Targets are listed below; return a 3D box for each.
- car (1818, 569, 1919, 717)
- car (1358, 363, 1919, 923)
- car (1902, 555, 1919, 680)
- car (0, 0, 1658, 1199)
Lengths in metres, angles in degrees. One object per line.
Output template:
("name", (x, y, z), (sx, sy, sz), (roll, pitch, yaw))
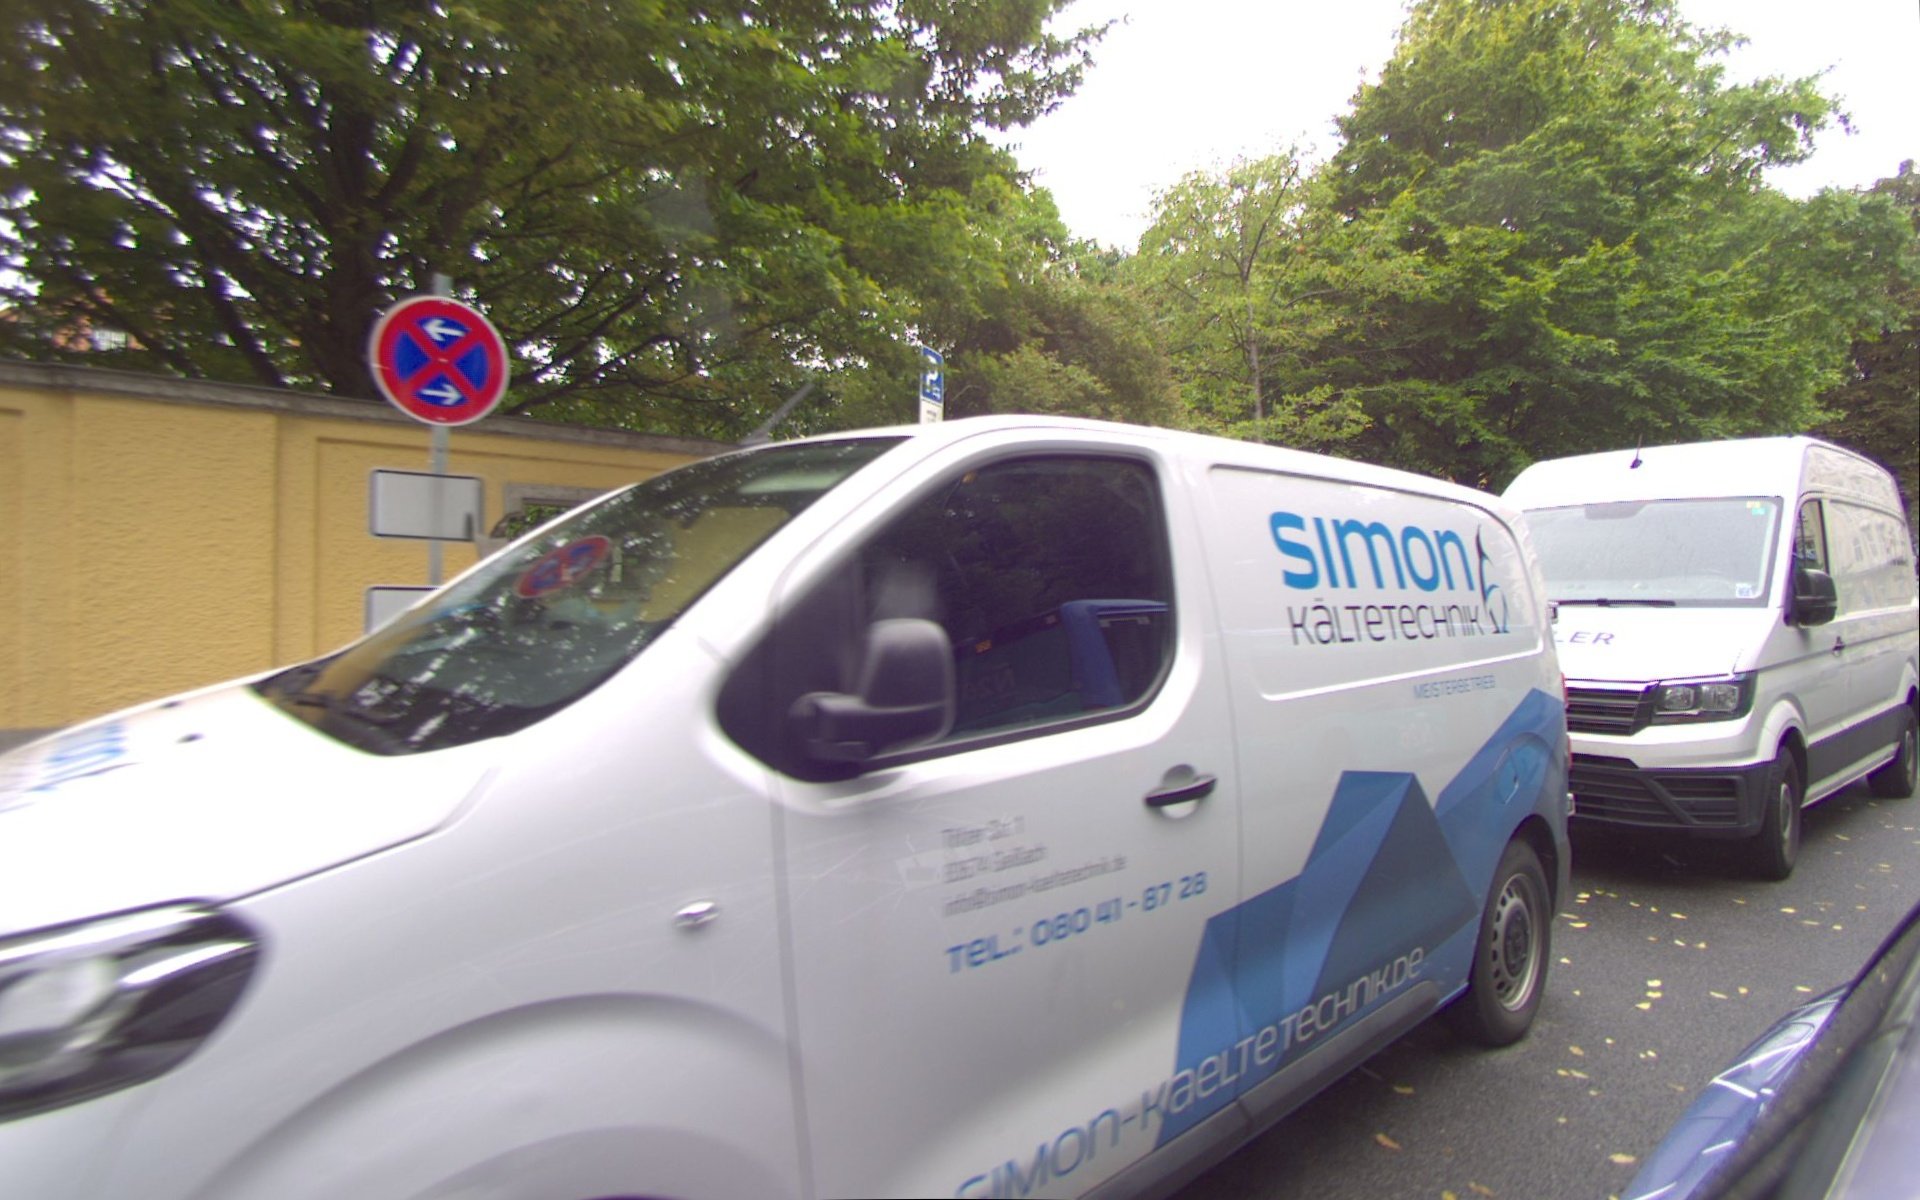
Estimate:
("car", (13.185, 0.506, 13.510), (4.520, 1.763, 1.863), (0, 0, -39))
("car", (5.264, 0.112, 7.168), (5.638, 2.518, 2.100), (-1, 2, -40))
("car", (17.772, 0.302, 17.229), (5.348, 1.992, 1.863), (0, 1, -40))
("car", (0.080, 0.460, 2.873), (5.075, 1.930, 2.016), (0, 0, -42))
